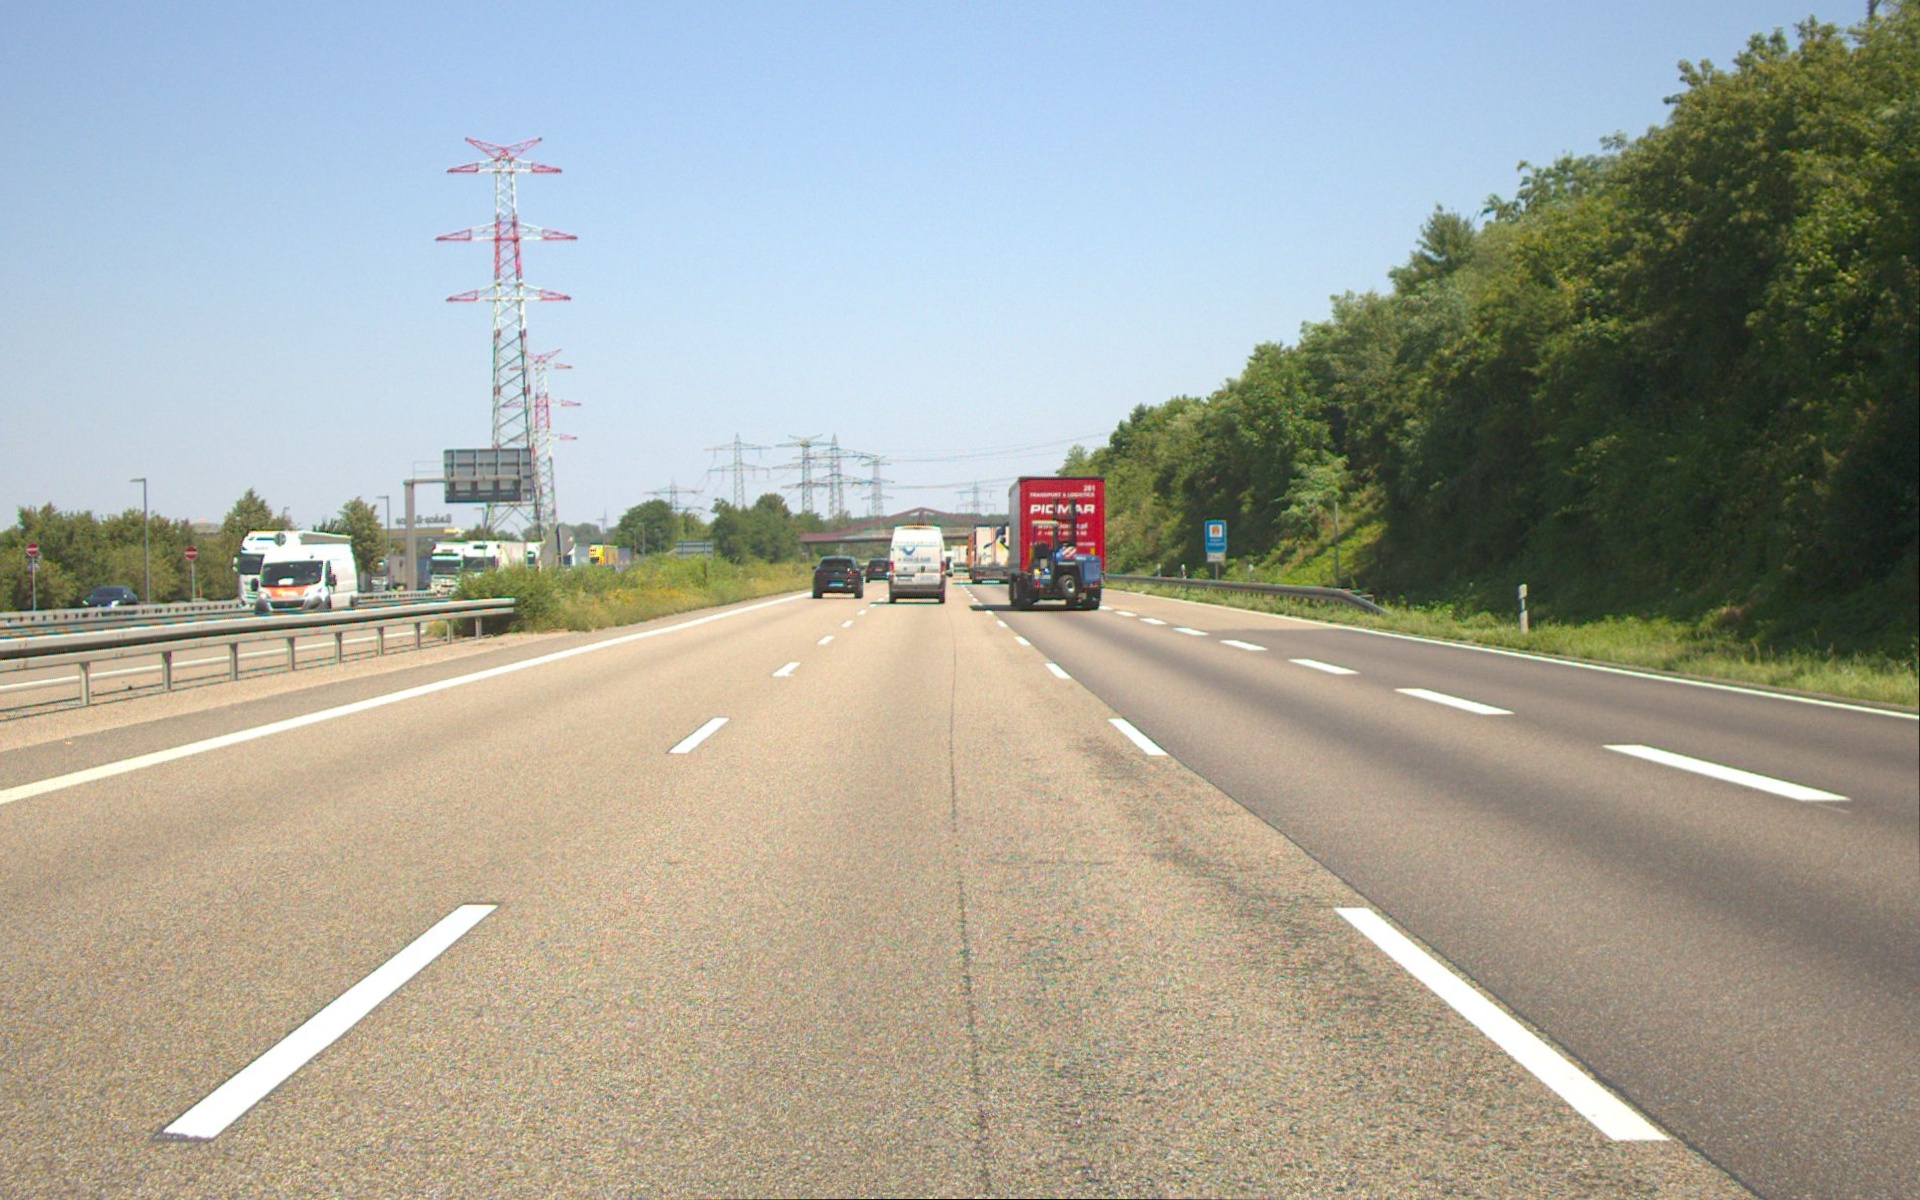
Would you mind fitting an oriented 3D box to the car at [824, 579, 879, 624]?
[{"bbox_3d":[-4.433,0.048,141.073,1.982,1.811,3.812,1,1,2],"label":"car"}]

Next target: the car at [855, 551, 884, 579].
[{"bbox_3d":[-6.543,-2.528,249.291,1.971,2.005,4.197,1,1,-1],"label":"car"}]

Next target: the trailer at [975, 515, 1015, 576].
[{"bbox_3d":[2.428,-3.668,234.383,2.637,4.047,12.366,1,1,1],"label":"trailer"}]

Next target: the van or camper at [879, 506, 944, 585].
[{"bbox_3d":[-1.730,-1.964,125.123,2.230,2.772,5.423,1,1,0],"label":"van or camper"}]

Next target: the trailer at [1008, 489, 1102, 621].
[{"bbox_3d":[2.917,-1.404,109.070,2.490,3.896,14.246,0,1,0],"label":"trailer"}]

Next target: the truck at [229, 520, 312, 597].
[{"bbox_3d":[-33.683,-2.014,168.073,2.799,3.631,6.147,1,1,0],"label":"truck"}]

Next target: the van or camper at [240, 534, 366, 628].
[{"bbox_3d":[-19.179,-0.581,100.668,2.418,2.573,6.367,-2,1,-1],"label":"van or camper"}]
